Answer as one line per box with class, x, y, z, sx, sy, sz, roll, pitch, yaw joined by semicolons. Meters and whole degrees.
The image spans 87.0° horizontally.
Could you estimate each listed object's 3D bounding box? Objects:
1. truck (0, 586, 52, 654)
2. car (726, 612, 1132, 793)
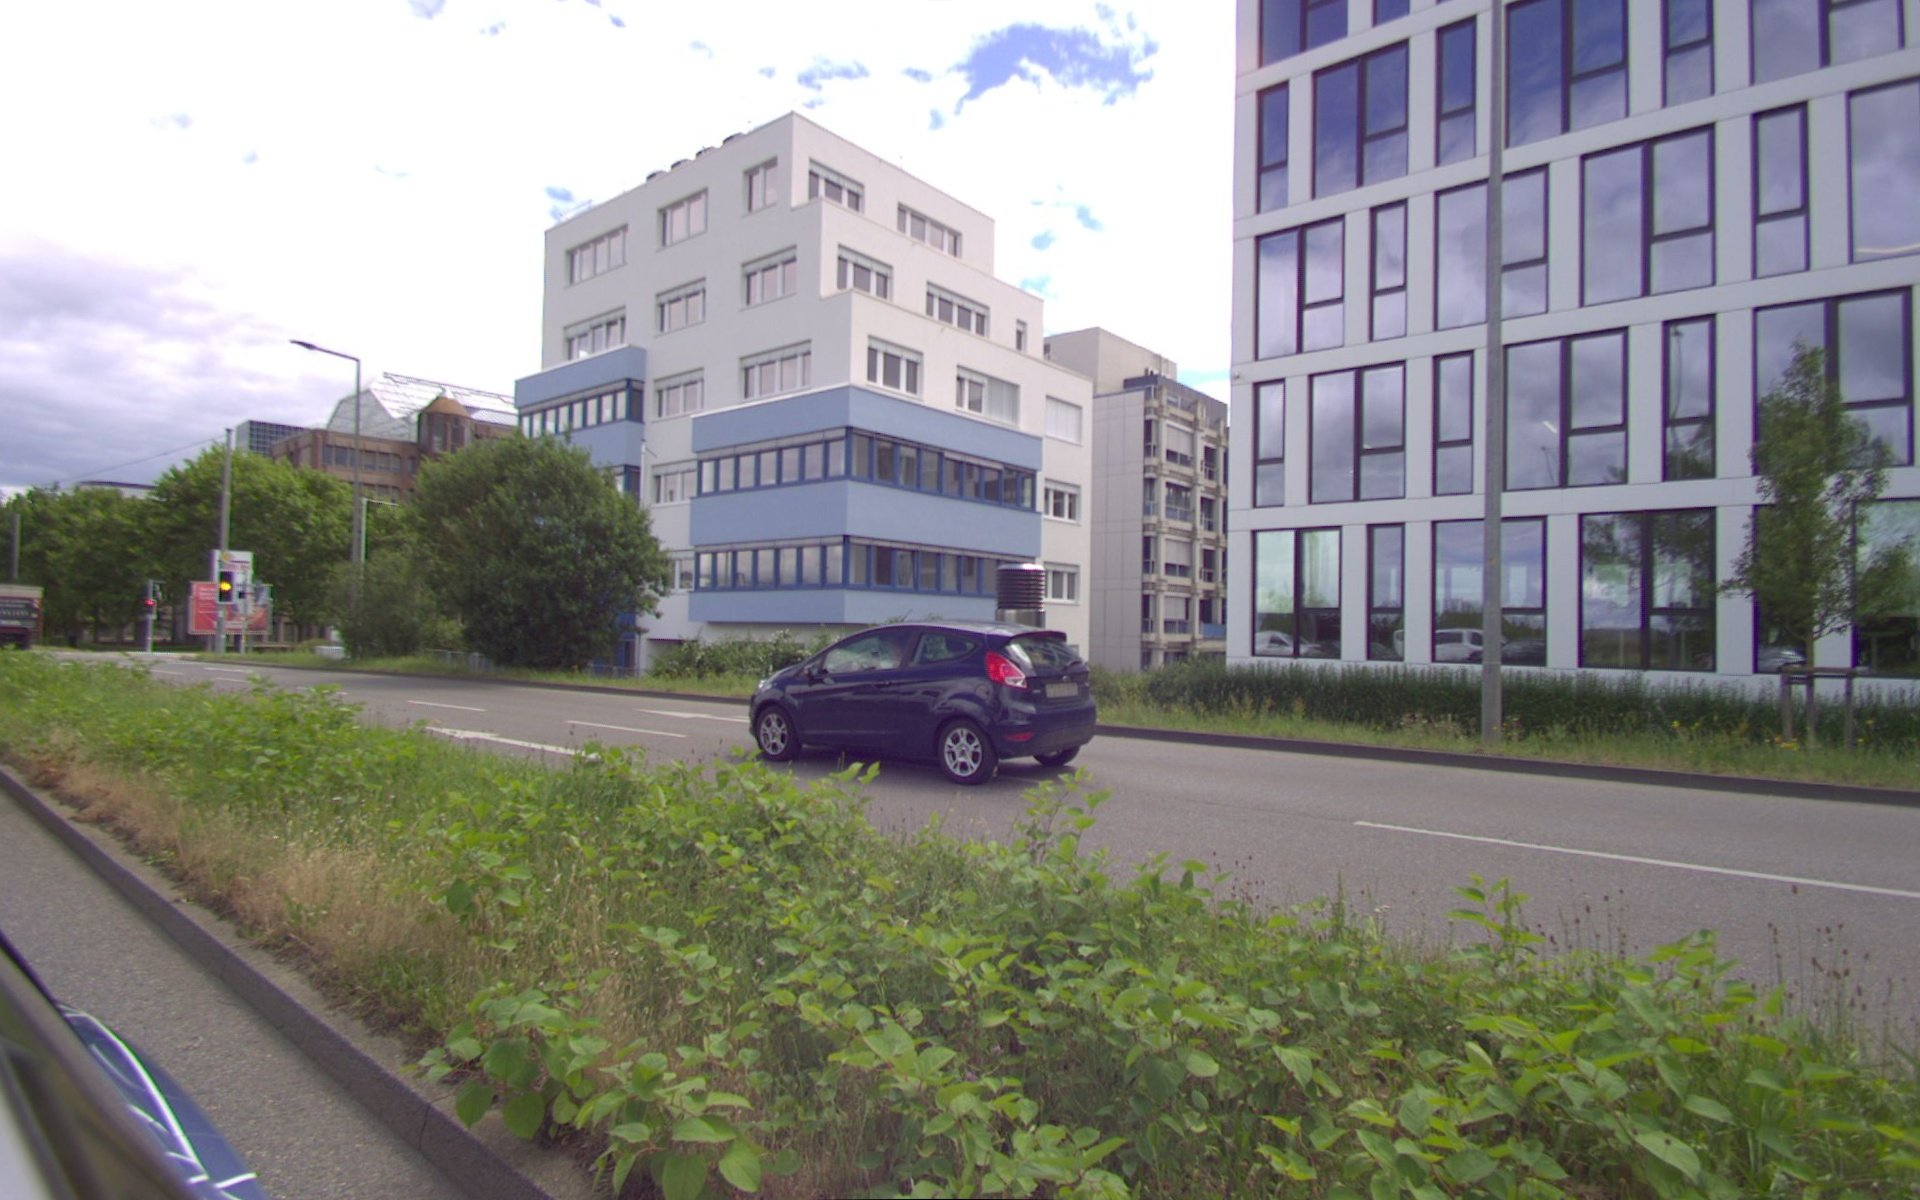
truck;-53.592;1.086;56.368;9.519;3.545;3.135;-1;-3;40
car;-0.412;0.866;10.198;3.886;1.457;1.738;0;0;38
